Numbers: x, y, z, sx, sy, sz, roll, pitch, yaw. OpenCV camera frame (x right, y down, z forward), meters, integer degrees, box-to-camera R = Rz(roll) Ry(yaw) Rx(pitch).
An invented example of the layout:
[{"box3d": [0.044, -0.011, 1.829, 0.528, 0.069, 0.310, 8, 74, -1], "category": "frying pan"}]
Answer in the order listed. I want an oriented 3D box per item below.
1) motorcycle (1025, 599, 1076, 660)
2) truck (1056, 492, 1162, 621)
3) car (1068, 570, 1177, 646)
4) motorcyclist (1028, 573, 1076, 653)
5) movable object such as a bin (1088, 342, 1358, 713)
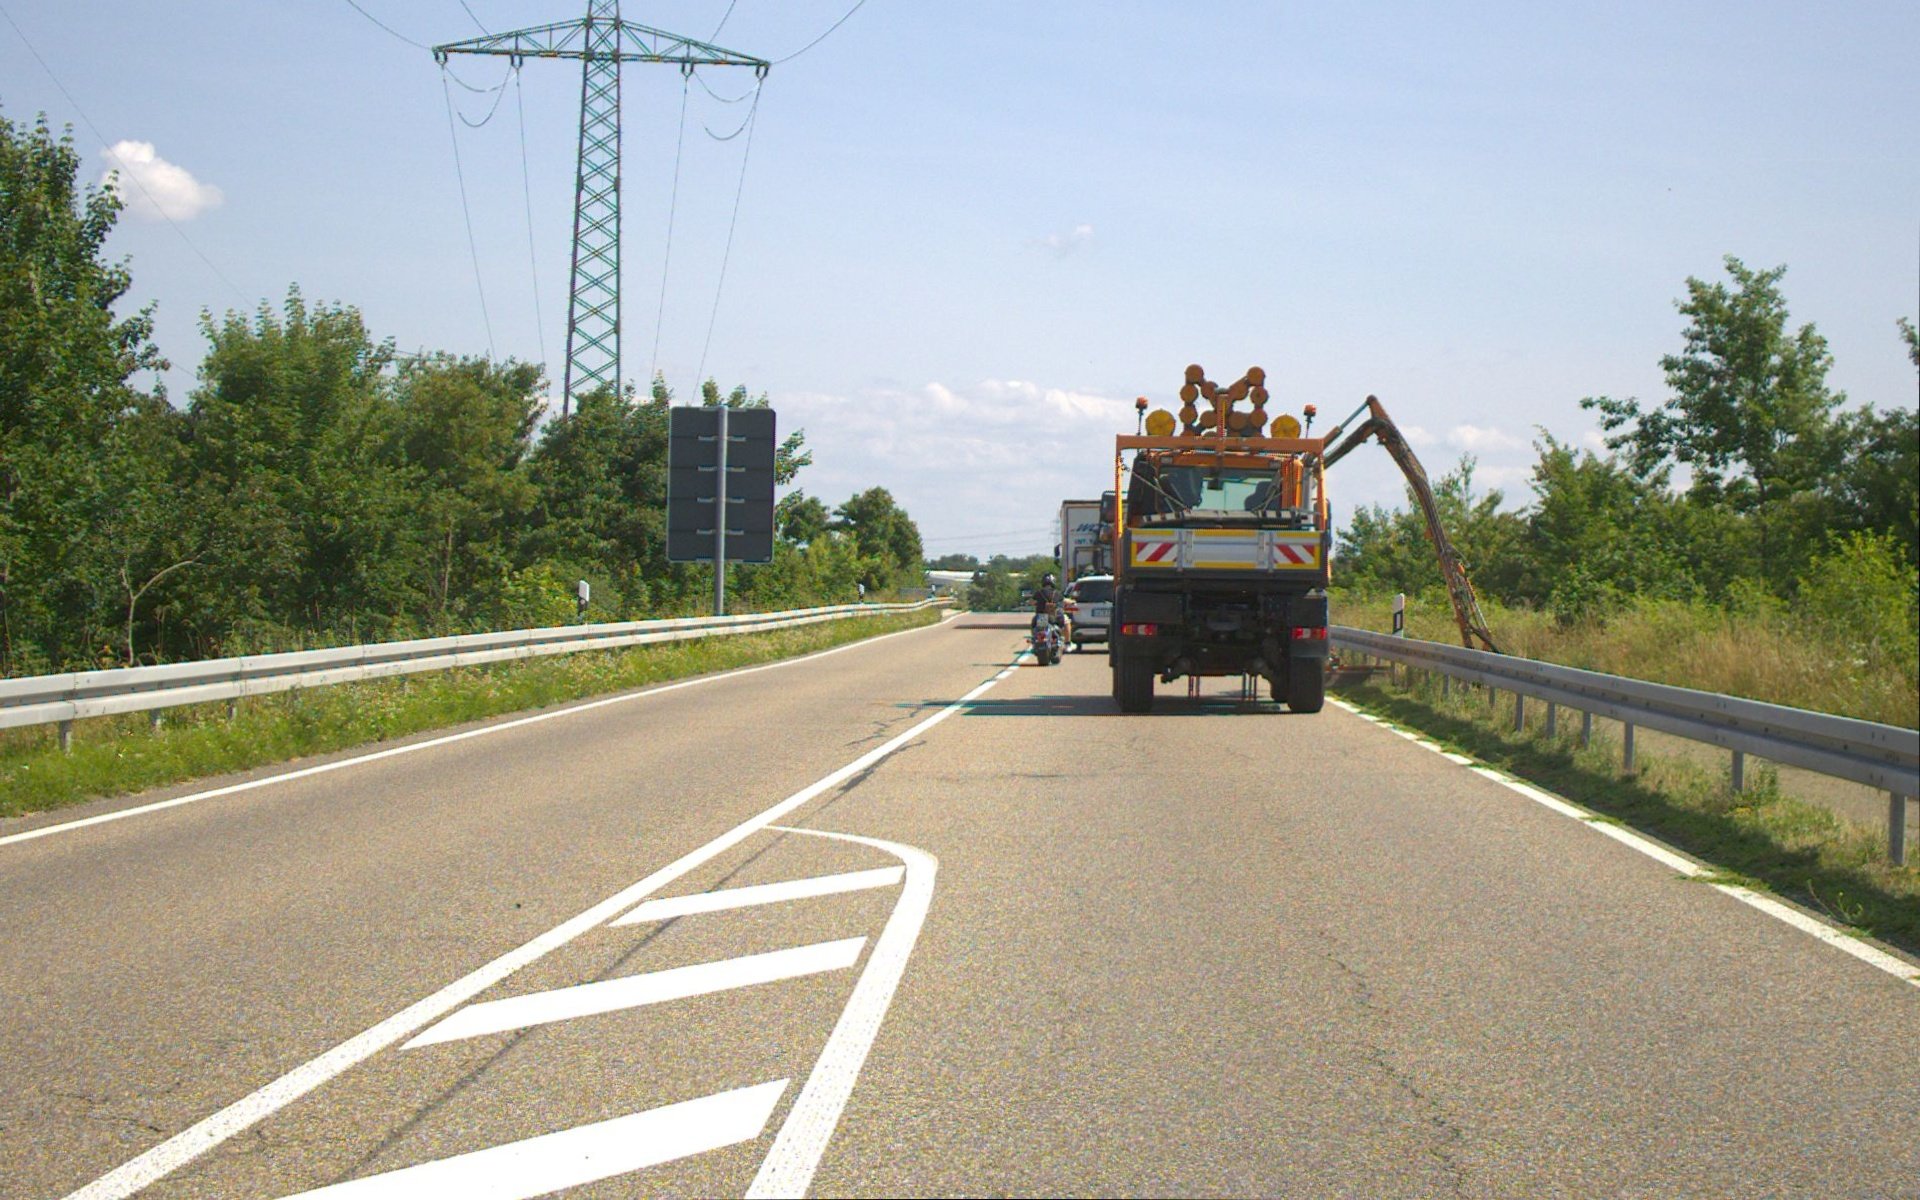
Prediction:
[{"box3d": [1.530, 0.484, 57.734, 0.780, 0.972, 2.361, 1, 1, 3], "category": "motorcycle"}, {"box3d": [4.877, -1.377, 111.886, 3.242, 3.965, 9.443, 1, 0, 3], "category": "truck"}, {"box3d": [3.308, 0.139, 69.347, 1.826, 1.446, 3.999, 1, 1, 8], "category": "car"}, {"box3d": [1.545, 0.213, 57.751, 0.780, 1.321, 0.813, 1, 1, 3], "category": "motorcyclist"}, {"box3d": [2.983, -0.820, 40.416, 2.753, 3.826, 9.444, 1, 1, 3], "category": "movable object such as a bin"}]
